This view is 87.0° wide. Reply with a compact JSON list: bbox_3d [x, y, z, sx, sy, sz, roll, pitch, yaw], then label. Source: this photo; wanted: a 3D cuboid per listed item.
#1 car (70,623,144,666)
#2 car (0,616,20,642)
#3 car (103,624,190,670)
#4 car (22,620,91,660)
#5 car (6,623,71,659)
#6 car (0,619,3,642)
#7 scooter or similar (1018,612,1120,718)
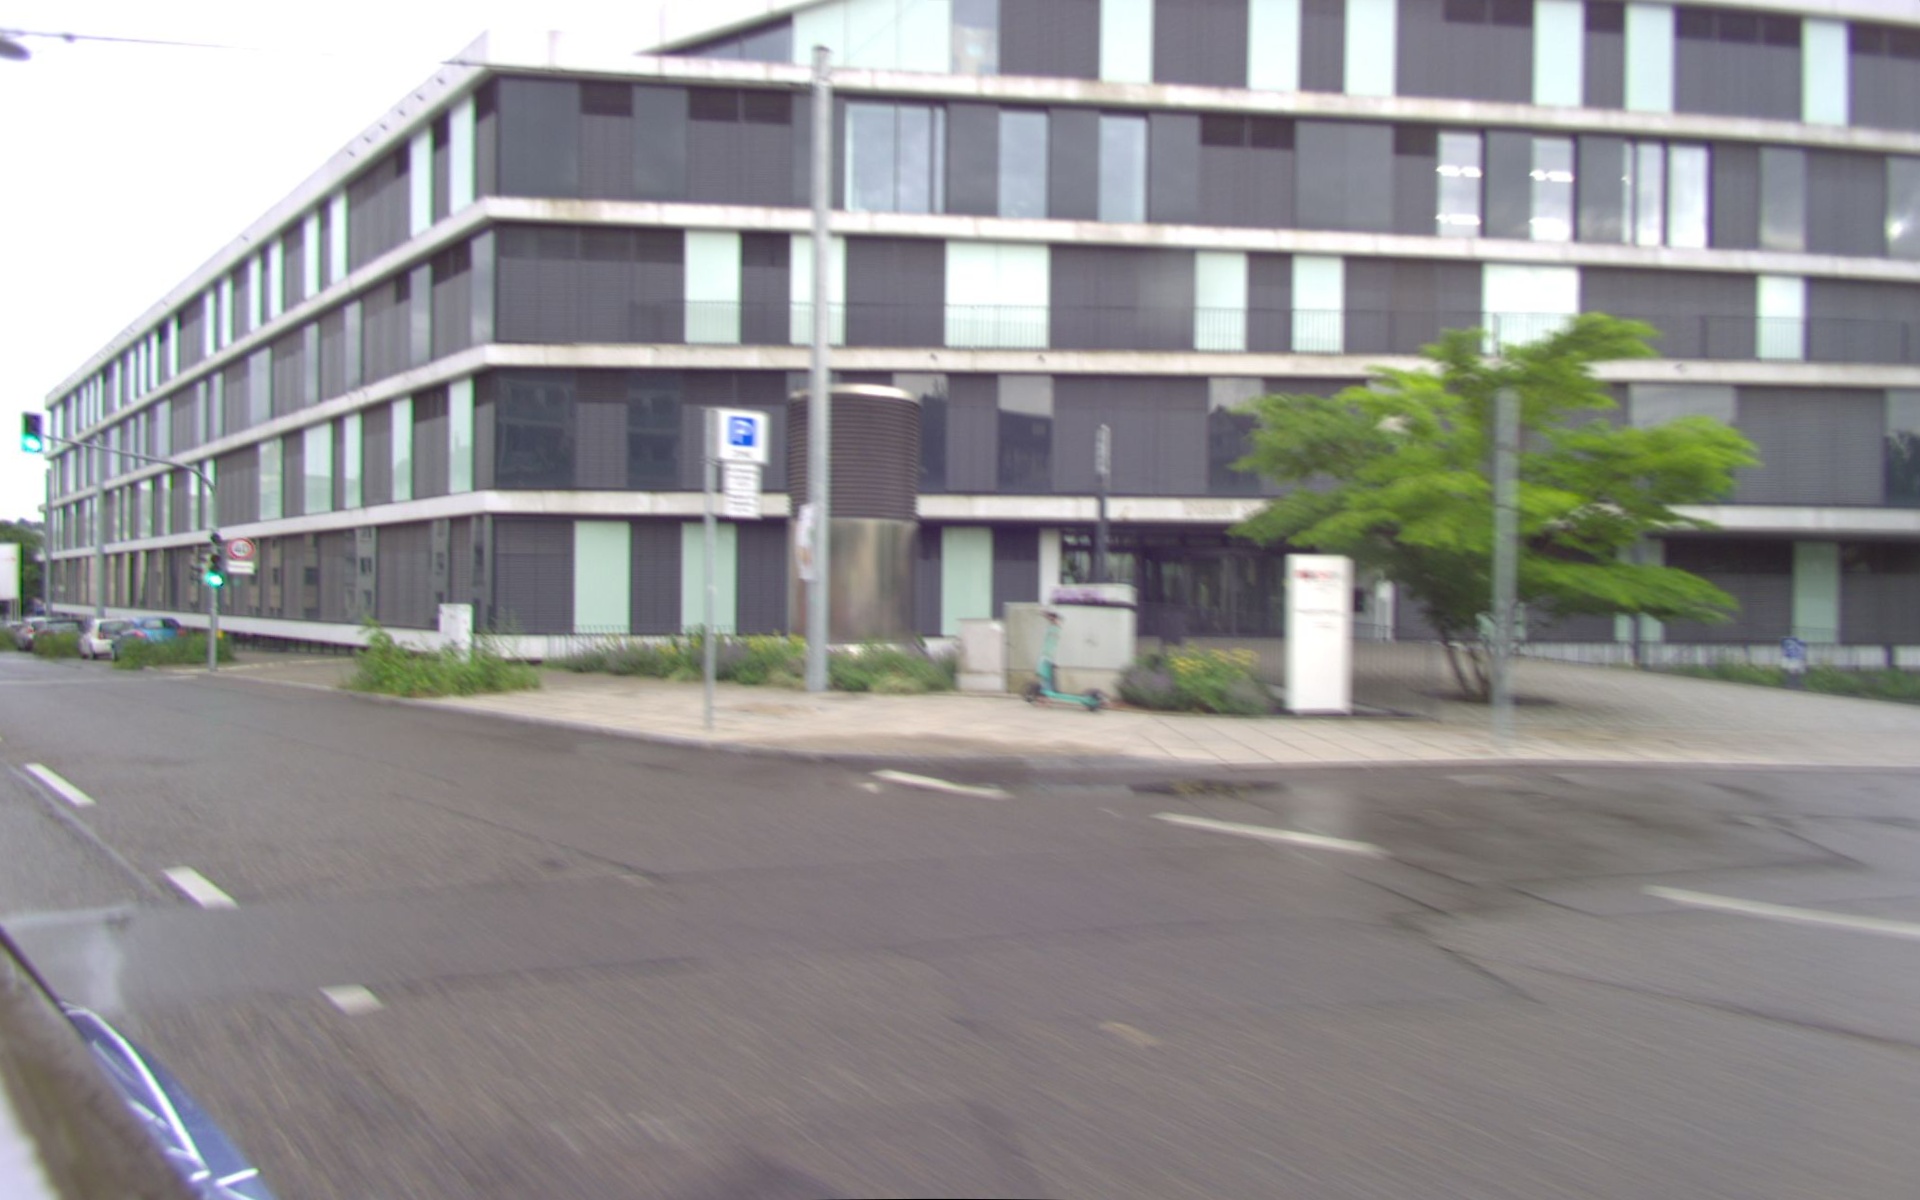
[{"bbox_3d":[-31.538,1.602,37.397,3.583,1.478,1.620,-1,-1,42],"label":"car"},{"bbox_3d":[-56.347,1.716,59.238,4.039,1.483,1.545,-1,-1,41],"label":"car"},{"bbox_3d":[-27.539,1.551,34.242,3.580,1.478,1.621,-1,-1,40],"label":"car"},{"bbox_3d":[-39.770,1.709,44.519,4.363,1.601,1.862,-1,0,43],"label":"car"},{"bbox_3d":[-44.285,1.943,48.604,4.361,1.601,1.811,-1,0,41],"label":"car"},{"bbox_3d":[-62.912,1.997,65.065,4.039,1.483,1.621,-1,-1,41],"label":"car"},{"bbox_3d":[1.371,0.790,12.838,1.231,1.258,0.491,0,1,42],"label":"scooter or similar"}]
